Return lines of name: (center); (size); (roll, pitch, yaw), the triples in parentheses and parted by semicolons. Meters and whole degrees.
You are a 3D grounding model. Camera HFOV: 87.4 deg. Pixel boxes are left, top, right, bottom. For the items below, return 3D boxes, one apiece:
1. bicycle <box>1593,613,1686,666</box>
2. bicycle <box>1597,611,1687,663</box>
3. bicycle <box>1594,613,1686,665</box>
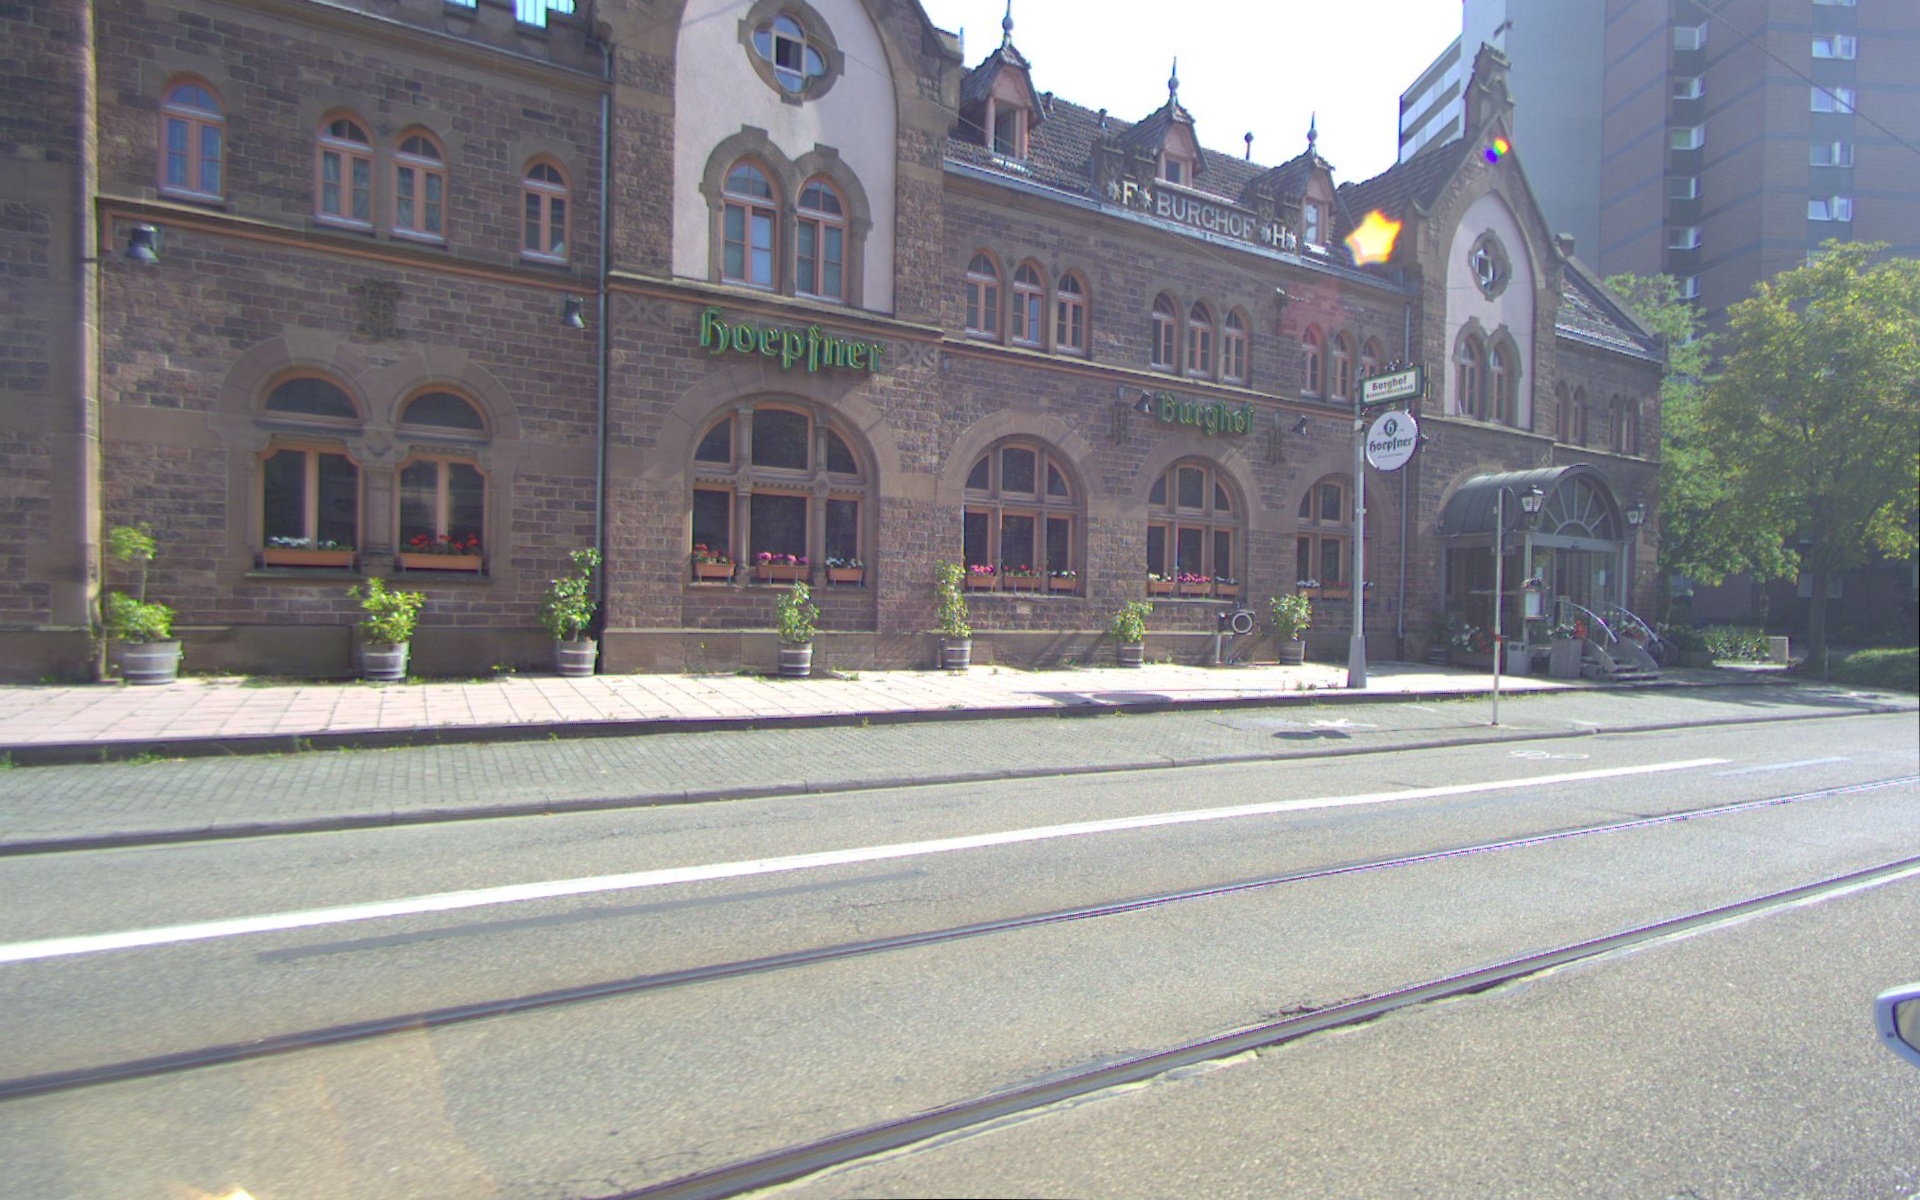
bicycle: (16.662, 0.943, 24.659); (1.780, 1.088, 0.419); (7, 4, 39)
bicycle: (17.229, 0.915, 25.400); (1.780, 1.088, 0.419); (7, 4, 39)
bicycle: (16.937, 0.950, 25.039); (1.780, 1.088, 0.419); (7, 4, 39)
